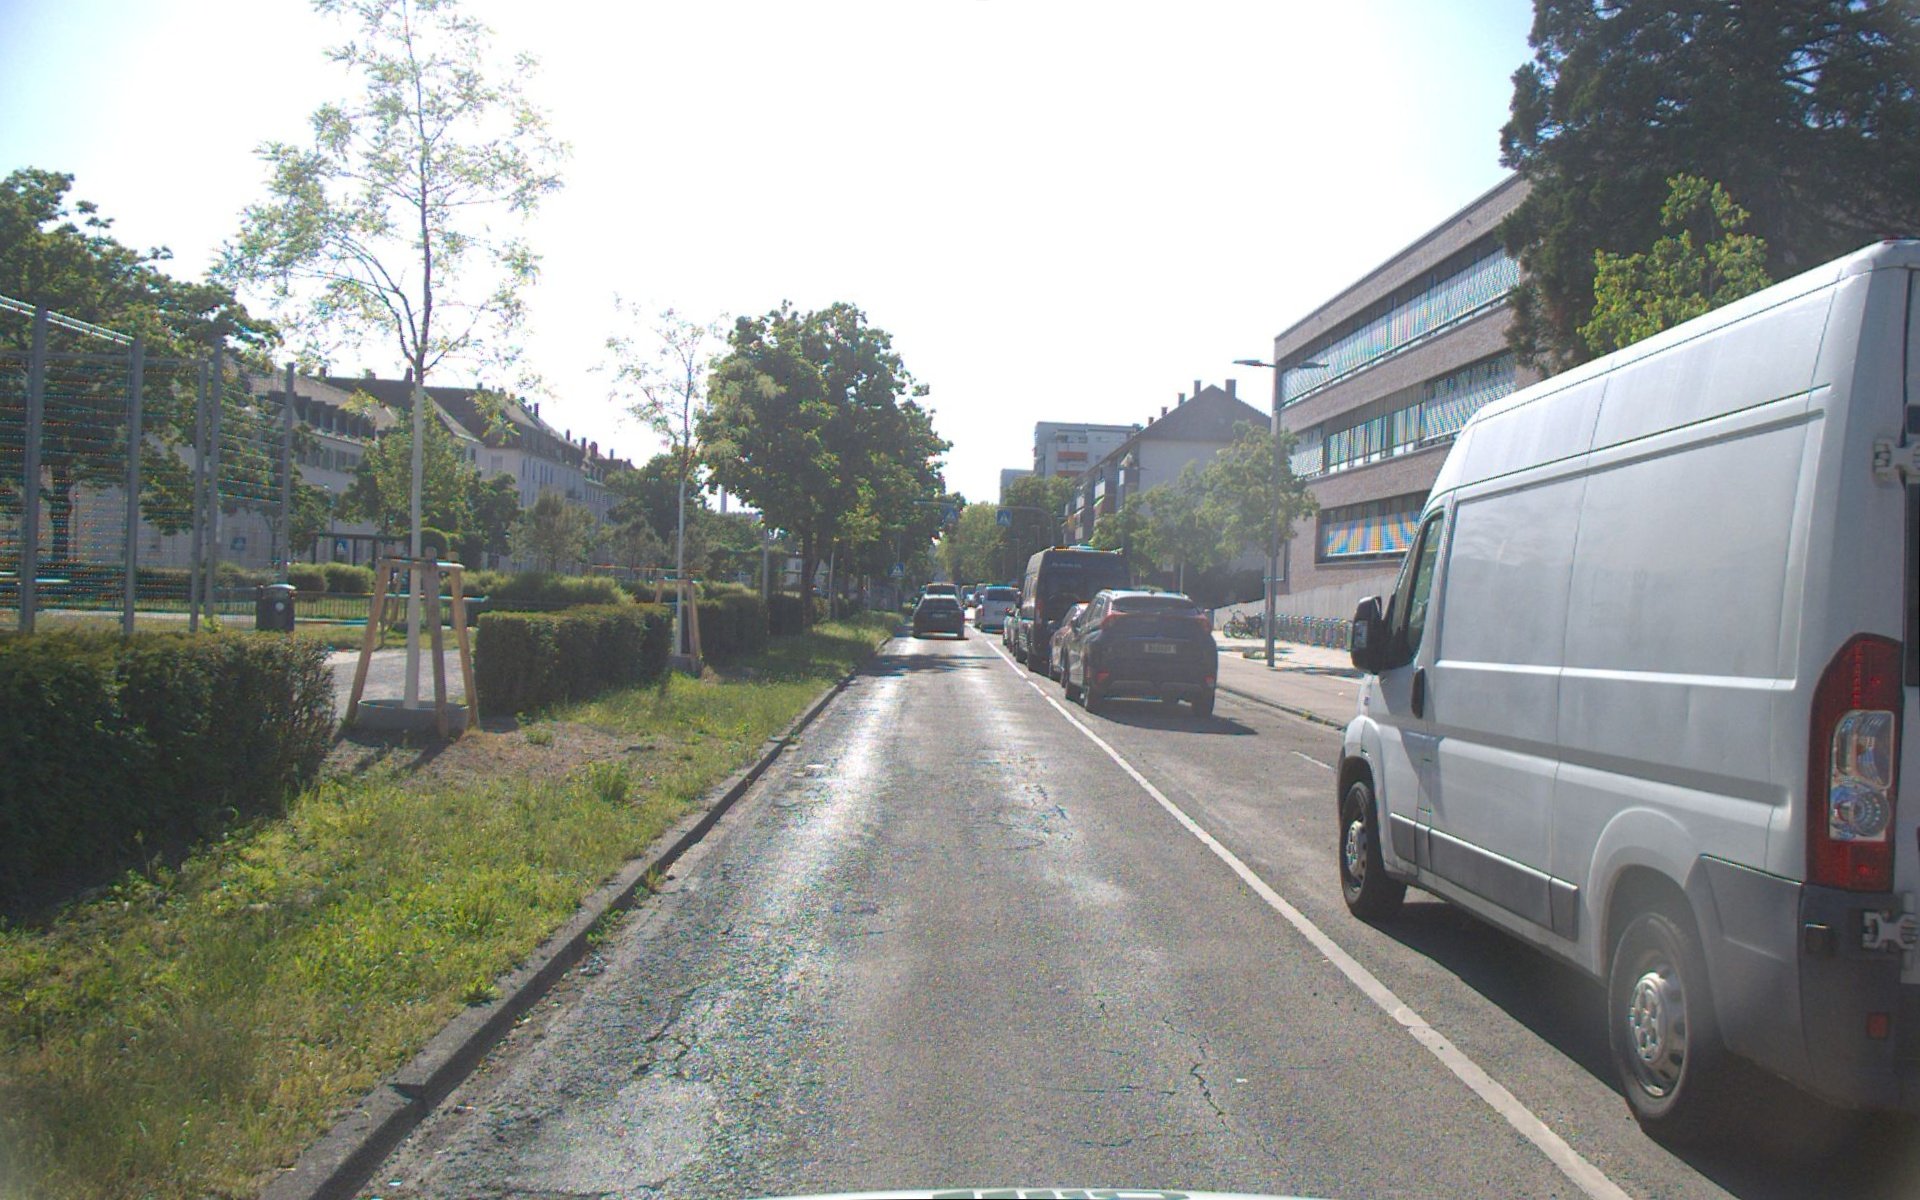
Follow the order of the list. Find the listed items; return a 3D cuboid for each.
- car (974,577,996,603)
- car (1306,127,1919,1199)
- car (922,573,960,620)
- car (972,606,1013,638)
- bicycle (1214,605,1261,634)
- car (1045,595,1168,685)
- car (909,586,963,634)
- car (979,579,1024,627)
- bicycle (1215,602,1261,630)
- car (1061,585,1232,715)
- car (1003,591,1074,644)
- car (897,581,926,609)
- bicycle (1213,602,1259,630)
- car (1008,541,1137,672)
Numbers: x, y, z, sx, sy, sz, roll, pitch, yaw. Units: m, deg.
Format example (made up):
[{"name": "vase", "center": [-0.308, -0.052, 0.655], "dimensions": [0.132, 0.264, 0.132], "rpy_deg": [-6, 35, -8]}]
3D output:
[{"name": "car", "center": [2.507, -0.980, 168.192], "dimensions": [1.953, 2.472, 4.499], "rpy_deg": [4, 0, -1]}, {"name": "car", "center": [3.128, 0.255, 6.563], "dimensions": [2.196, 2.619, 5.431], "rpy_deg": [3, 0, -1]}, {"name": "car", "center": [-0.931, -0.170, 81.026], "dimensions": [1.758, 2.159, 4.000], "rpy_deg": [2, 0, -1]}, {"name": "car", "center": [1.464, 1.001, 76.194], "dimensions": [1.729, 1.342, 4.167], "rpy_deg": [3, 0, 0]}, {"name": "bicycle", "center": [10.858, 0.777, 64.789], "dimensions": [1.758, 1.127, 0.500], "rpy_deg": [0, 0, -4]}, {"name": "car", "center": [2.623, 0.682, 30.403], "dimensions": [1.758, 1.480, 3.948], "rpy_deg": [2, 0, -2]}, {"name": "car", "center": [-0.810, 0.335, 57.551], "dimensions": [1.758, 1.536, 4.000], "rpy_deg": [2, 0, -1]}, {"name": "car", "center": [1.728, 0.105, 69.782], "dimensions": [1.757, 1.887, 4.414], "rpy_deg": [2, 0, 1]}, {"name": "bicycle", "center": [11.092, 0.642, 65.939], "dimensions": [1.758, 1.127, 0.500], "rpy_deg": [0, 0, -4]}, {"name": "car", "center": [2.610, 0.653, 24.187], "dimensions": [1.809, 1.669, 4.502], "rpy_deg": [2, 0, -2]}, {"name": "car", "center": [2.307, 0.491, 49.801], "dimensions": [1.758, 1.445, 4.656], "rpy_deg": [2, 0, -1]}, {"name": "car", "center": [-3.131, -0.329, 107.628], "dimensions": [1.758, 1.652, 4.000], "rpy_deg": [3, 0, -1]}, {"name": "bicycle", "center": [11.086, 0.638, 66.497], "dimensions": [1.758, 1.127, 0.500], "rpy_deg": [0, 0, -4]}, {"name": "car", "center": [2.349, 0.116, 36.486], "dimensions": [2.073, 2.559, 6.529], "rpy_deg": [2, 0, -2]}]
